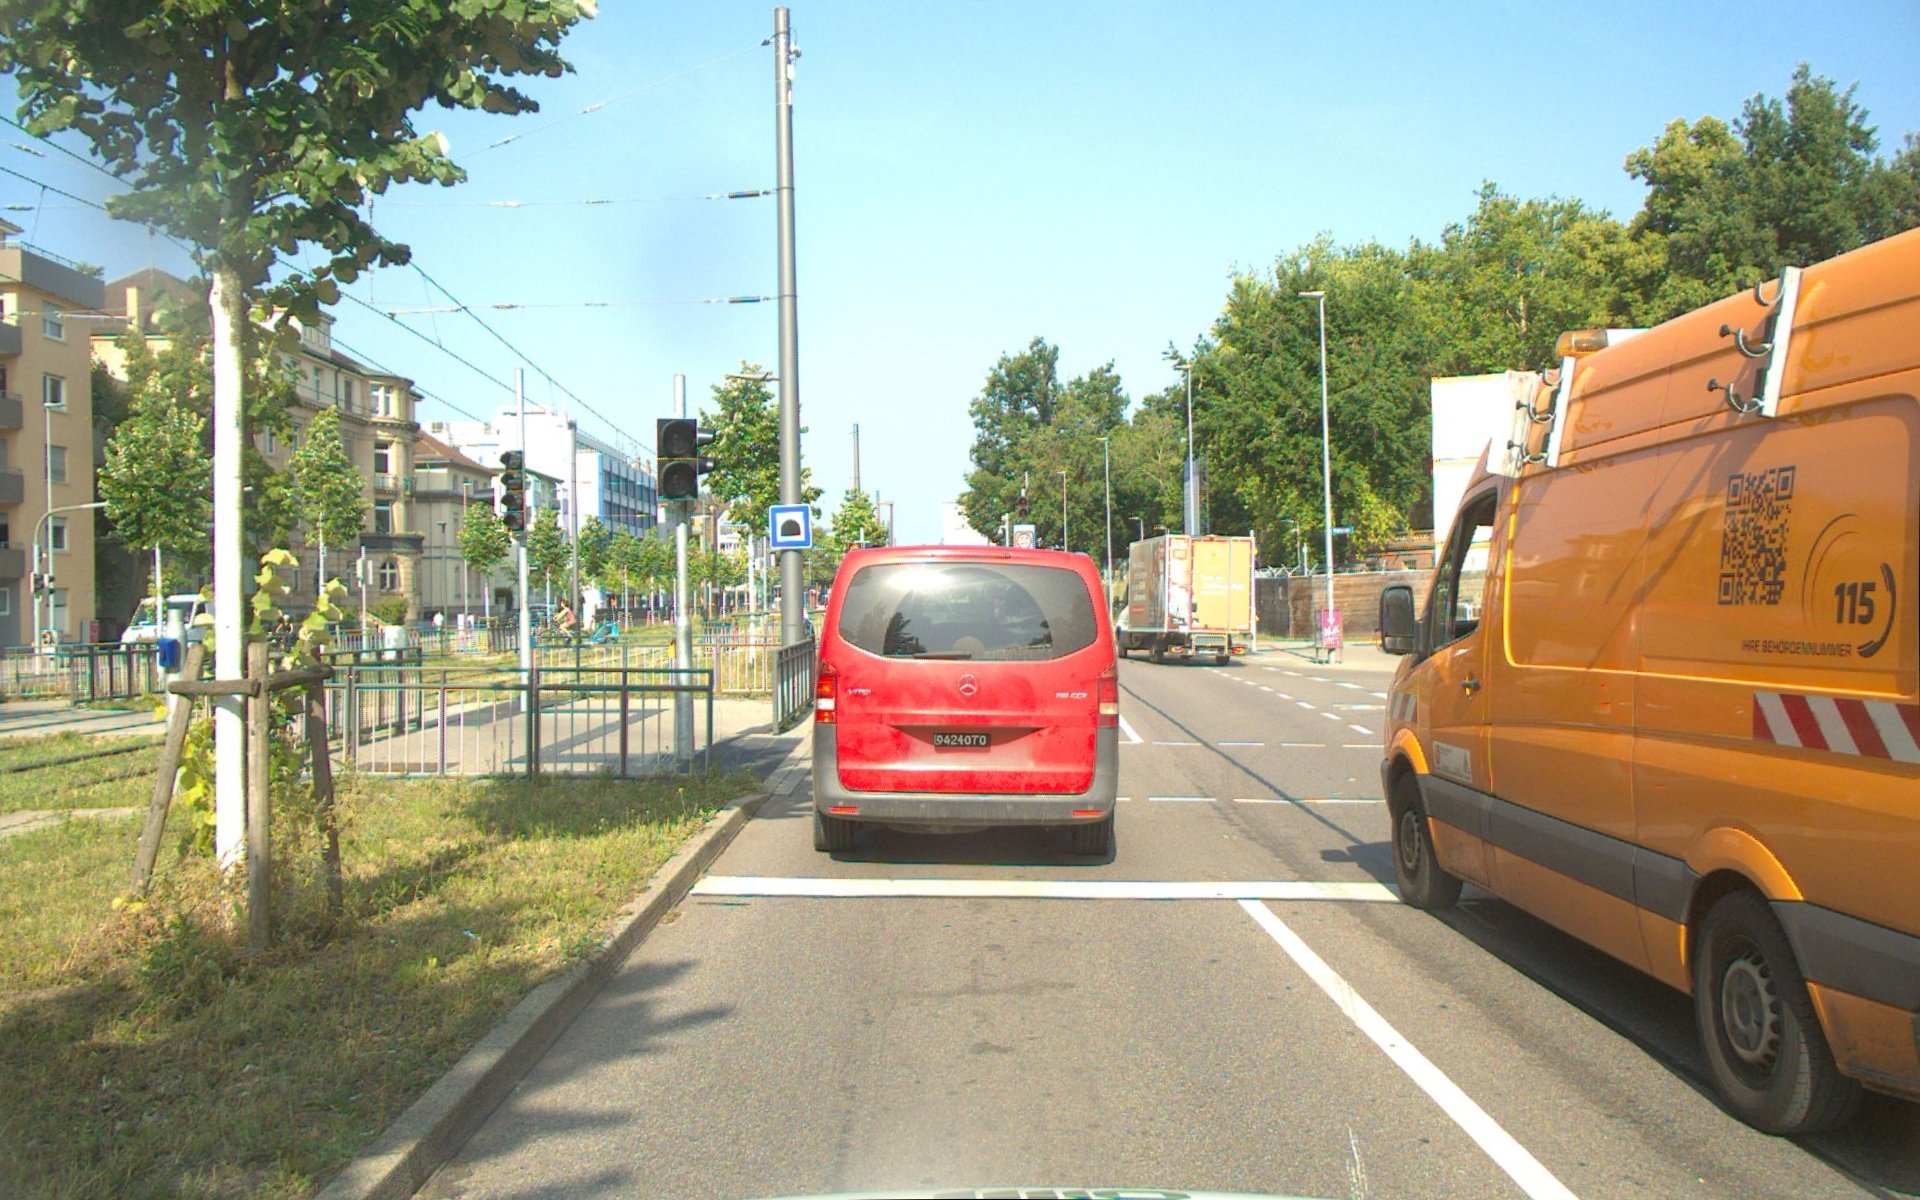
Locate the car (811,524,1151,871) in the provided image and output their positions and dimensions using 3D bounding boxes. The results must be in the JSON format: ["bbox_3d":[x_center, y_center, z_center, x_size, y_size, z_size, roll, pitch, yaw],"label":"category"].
[{"bbox_3d":[0.129,0.541,11.146,1.862,1.892,4.000,1,0,0],"label":"car"}]

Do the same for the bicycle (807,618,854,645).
[{"bbox_3d":[-3.948,0.957,50.394,0.704,0.812,1.602,1,-1,27],"label":"bicycle"}]

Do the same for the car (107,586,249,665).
[{"bbox_3d":[-24.257,0.748,51.520,2.004,2.278,5.332,-1,0,-2],"label":"car"}]

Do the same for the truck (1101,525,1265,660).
[{"bbox_3d":[5.549,-0.132,42.476,2.453,3.114,7.811,1,-1,-5],"label":"truck"}]

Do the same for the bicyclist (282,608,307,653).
[{"bbox_3d":[-27.512,1.256,68.395,0.656,1.837,1.082,-1,0,-5],"label":"bicyclist"}]

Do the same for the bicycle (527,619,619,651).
[{"bbox_3d":[-13.072,1.175,55.965,2.933,0.982,0.898,-1,0,-10],"label":"bicycle"}]

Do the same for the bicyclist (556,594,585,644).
[{"bbox_3d":[-13.176,0.654,55.948,0.873,1.657,0.890,-1,0,-9],"label":"bicyclist"}]

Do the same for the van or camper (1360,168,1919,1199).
[{"bbox_3d":[3.275,0.247,6.406,1.945,2.515,6.060,0,-1,0],"label":"van or camper"}]

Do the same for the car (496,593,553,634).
[{"bbox_3d":[-23.349,0.746,88.787,1.953,2.049,3.999,-3,-1,0],"label":"car"}]

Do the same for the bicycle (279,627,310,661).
[{"bbox_3d":[-27.490,1.799,68.354,0.681,1.369,1.756,-1,0,-5],"label":"bicycle"}]

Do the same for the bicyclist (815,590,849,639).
[{"bbox_3d":[-3.906,0.446,50.494,0.672,1.466,0.805,0,-1,27],"label":"bicyclist"}]

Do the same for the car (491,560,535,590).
[{"bbox_3d":[-34.925,-1.945,129.313,2.204,2.049,5.259,1,-2,-3],"label":"car"}]
